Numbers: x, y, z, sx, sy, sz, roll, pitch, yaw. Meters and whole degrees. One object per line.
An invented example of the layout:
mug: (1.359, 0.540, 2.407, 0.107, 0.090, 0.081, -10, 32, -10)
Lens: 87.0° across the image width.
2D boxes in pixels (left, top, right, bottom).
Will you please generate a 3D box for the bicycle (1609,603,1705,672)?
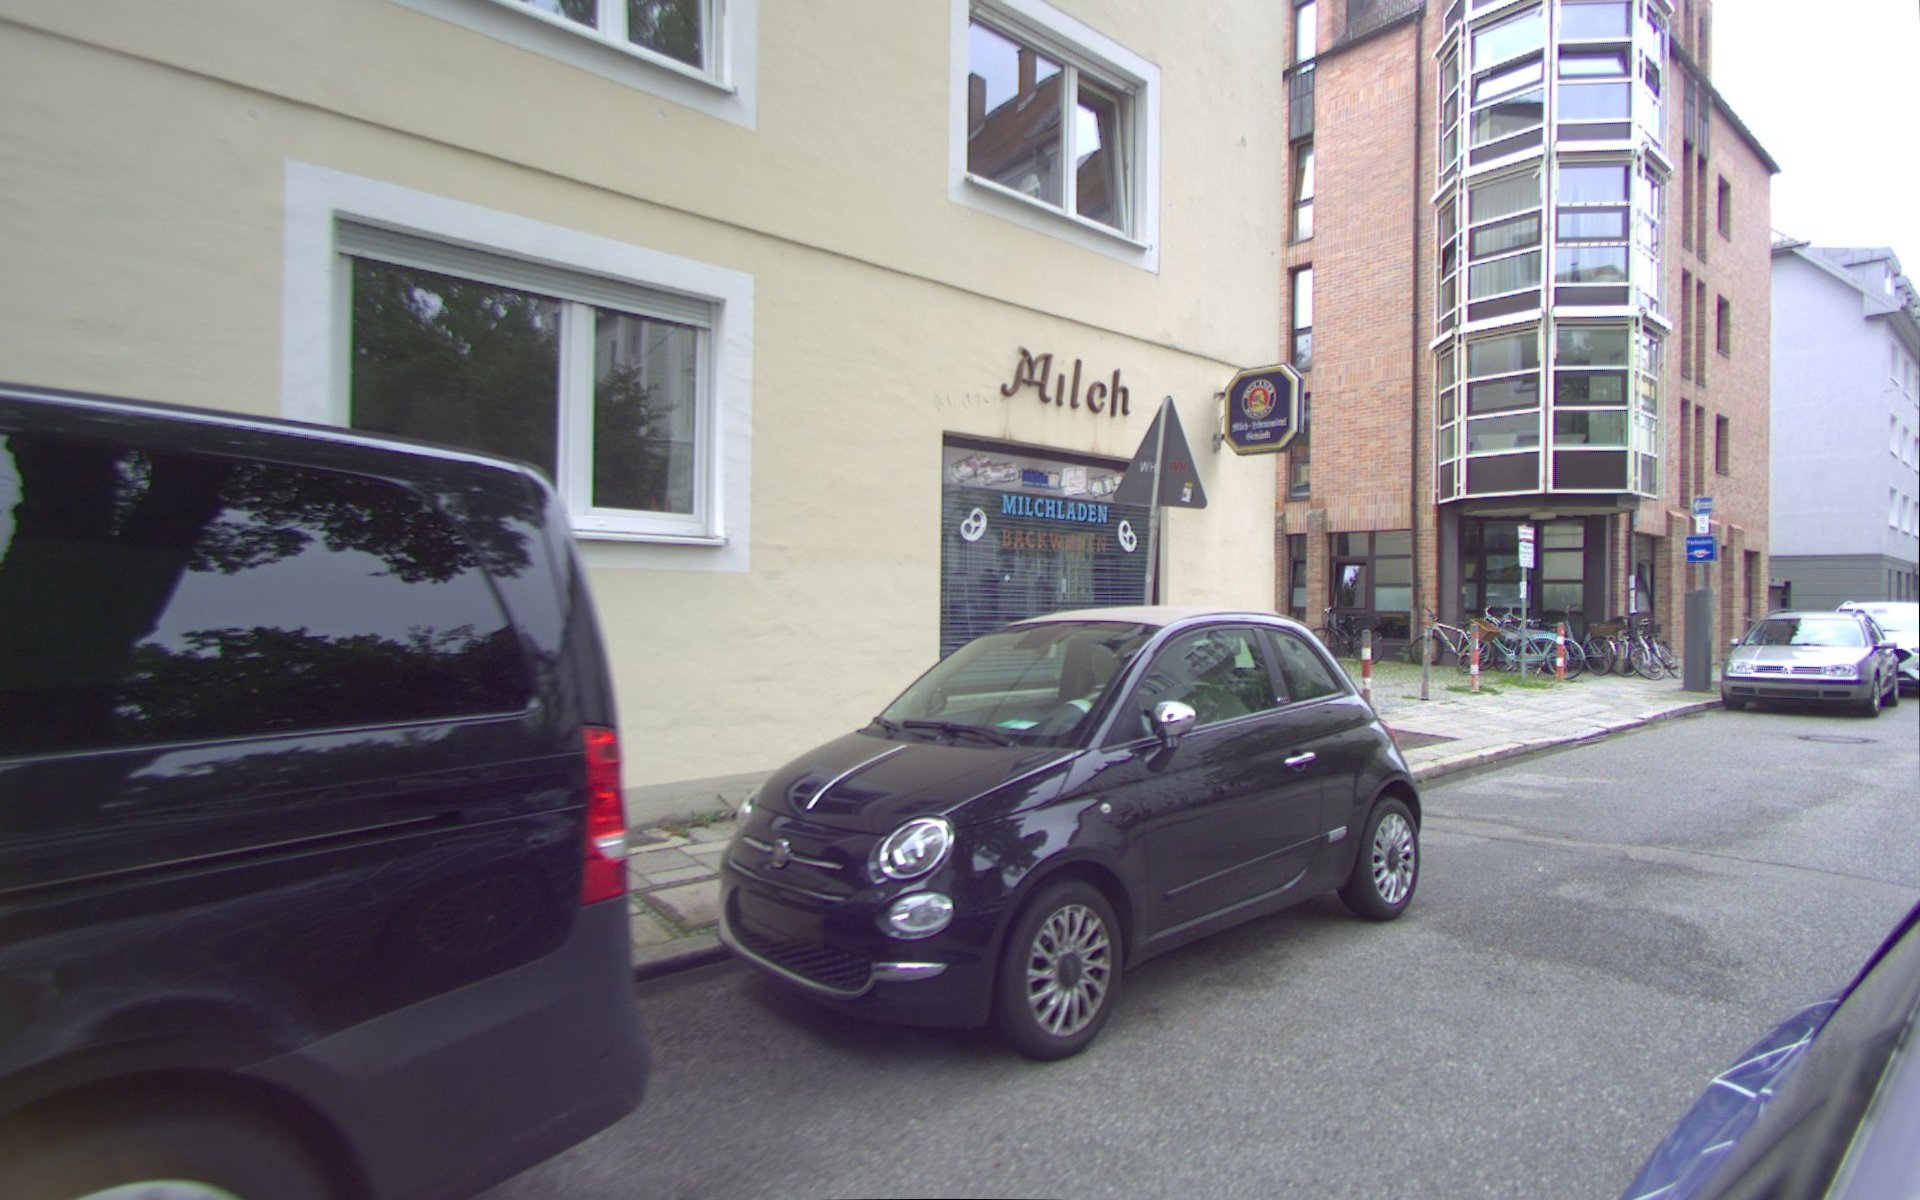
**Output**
bicycle: (13.306, 0.692, 19.325, 1.743, 1.232, 0.744, 0, 1, -26)

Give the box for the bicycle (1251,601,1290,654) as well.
bicycle: (6.727, 0.580, 21.947, 0.434, 1.086, 1.426, 1, 0, 2)

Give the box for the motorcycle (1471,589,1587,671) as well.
motorcycle: (10.516, 0.523, 18.740, 0.543, 1.402, 1.761, 1, 1, -45)

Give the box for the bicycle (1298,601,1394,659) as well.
bicycle: (7.754, 0.581, 20.401, 0.434, 1.086, 1.887, 1, 0, -34)

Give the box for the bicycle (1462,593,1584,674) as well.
bicycle: (9.706, 0.555, 17.529, 1.786, 1.339, 0.583, 1, 1, 25)

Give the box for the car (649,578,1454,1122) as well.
car: (0.600, 0.706, 4.547, 3.475, 1.490, 1.637, 0, -2, -40)

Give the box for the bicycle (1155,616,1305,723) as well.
bicycle: (2.986, 0.740, 11.337, 0.404, 1.039, 1.705, -1, 2, -40)

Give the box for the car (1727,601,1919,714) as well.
car: (12.991, 0.752, 15.081, 4.284, 1.453, 1.722, 0, -1, -42)

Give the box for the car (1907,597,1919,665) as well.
car: (24.473, 0.722, 24.741, 3.982, 1.600, 1.617, 0, -1, -42)

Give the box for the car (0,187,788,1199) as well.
car: (-2.816, 0.433, 1.395, 4.802, 2.002, 1.992, 0, -2, -43)

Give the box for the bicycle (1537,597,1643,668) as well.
bicycle: (11.913, 0.589, 19.212, 0.581, 1.245, 1.881, 0, 1, -11)

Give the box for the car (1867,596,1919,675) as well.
car: (20.518, 0.713, 21.393, 3.742, 1.577, 1.617, 0, -1, -42)

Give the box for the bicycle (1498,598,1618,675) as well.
bicycle: (10.440, 0.612, 17.742, 0.434, 1.201, 1.755, 1, 2, -34)

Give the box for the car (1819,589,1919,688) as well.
car: (17.227, 0.652, 18.545, 4.378, 1.636, 1.722, 0, -1, -42)

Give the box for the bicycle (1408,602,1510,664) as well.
bicycle: (9.460, 0.606, 19.251, 0.434, 1.086, 1.755, 1, 0, -34)

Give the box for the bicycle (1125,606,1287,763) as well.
bicycle: (2.231, 0.700, 9.049, 1.787, 1.229, 0.411, -1, 3, -40)
